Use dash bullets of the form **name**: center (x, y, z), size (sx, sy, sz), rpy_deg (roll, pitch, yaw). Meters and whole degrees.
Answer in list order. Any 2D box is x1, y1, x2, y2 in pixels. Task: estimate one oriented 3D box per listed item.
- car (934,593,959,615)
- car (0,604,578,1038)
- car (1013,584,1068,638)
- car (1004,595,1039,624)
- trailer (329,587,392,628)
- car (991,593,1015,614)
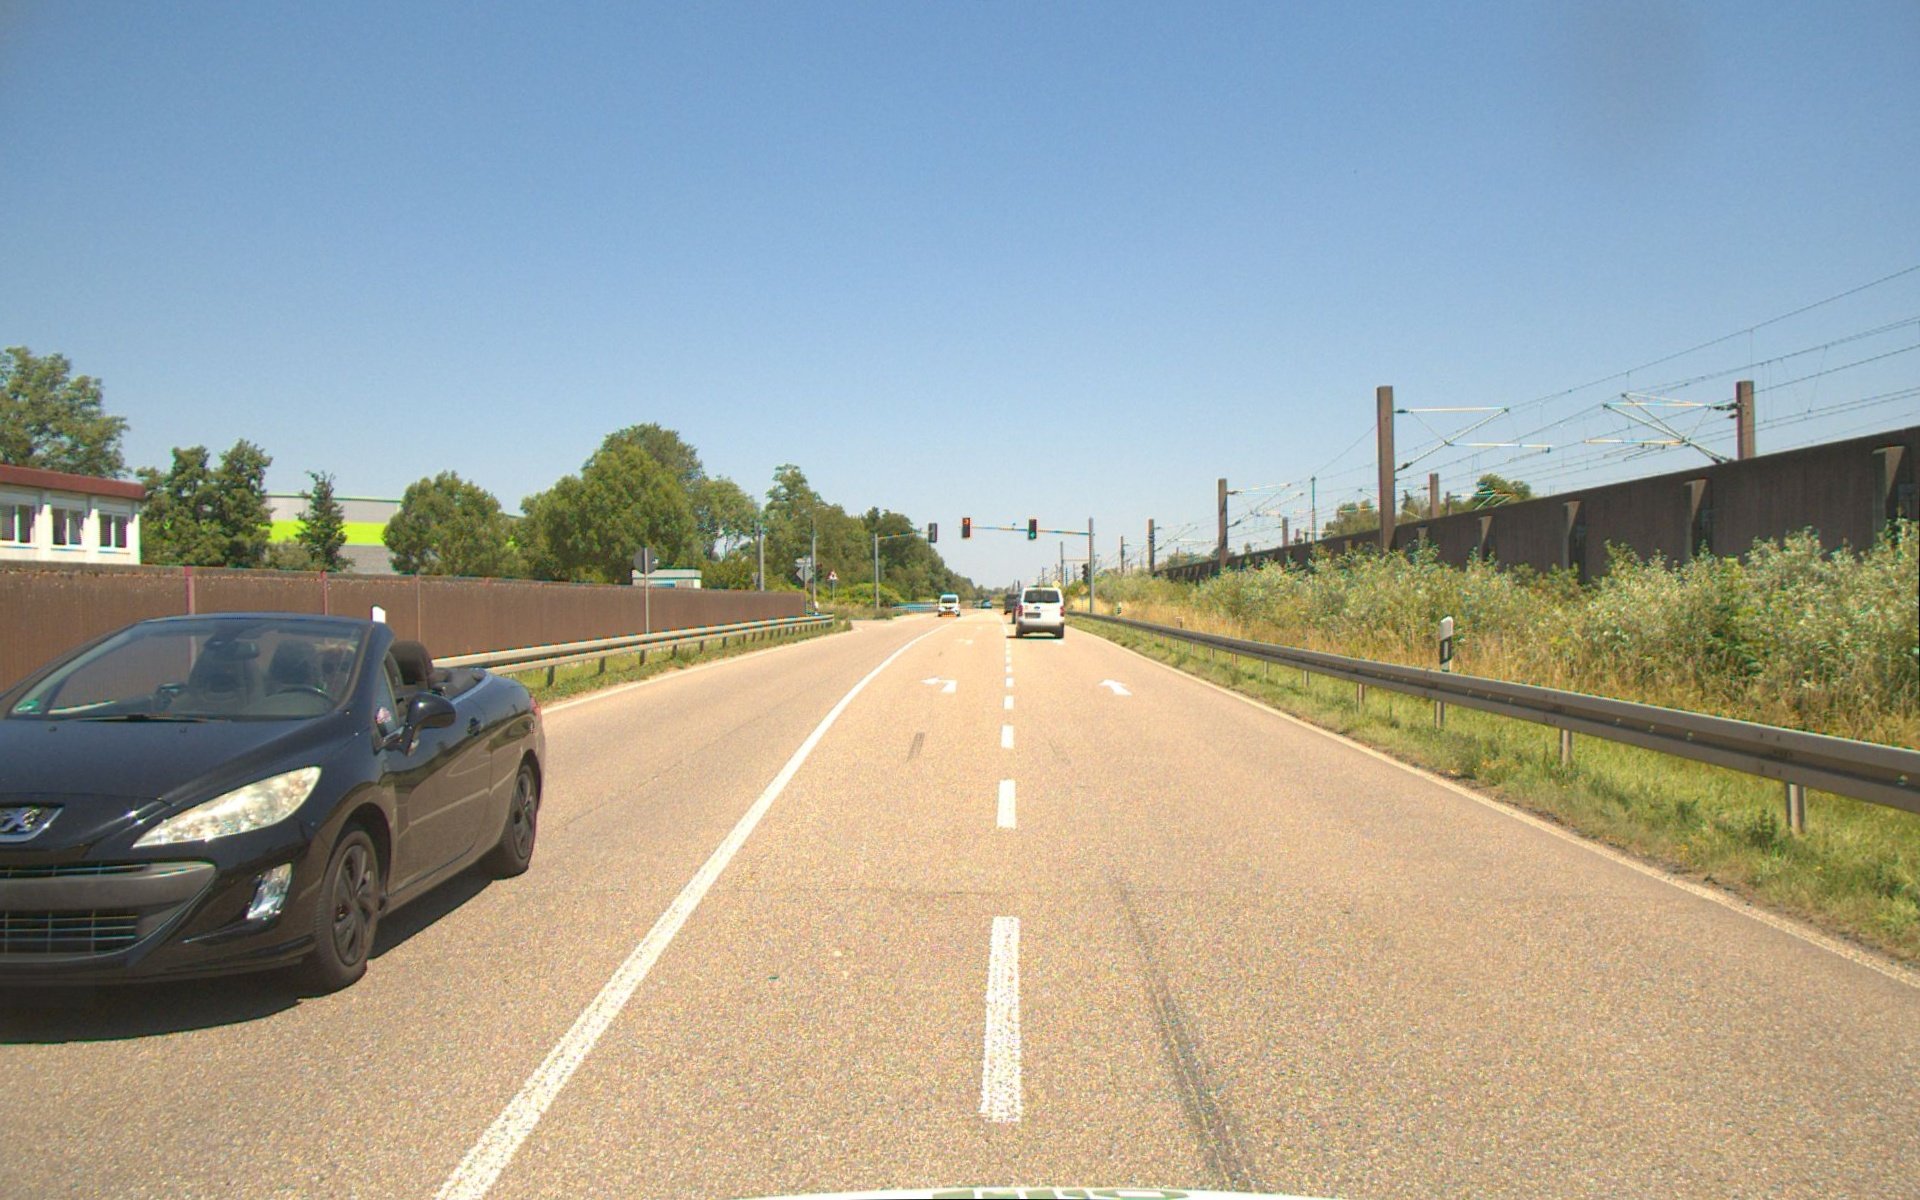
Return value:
- **car**: center (-1.190, 0.337, 141.097), size (1.850, 1.770, 4.772), rpy_deg (0, 0, -4)
- **car**: center (-3.105, 0.750, 7.637), size (1.808, 1.414, 4.189), rpy_deg (1, 0, -2)
- **car**: center (3.114, 0.413, 64.923), size (1.953, 2.018, 4.060), rpy_deg (1, 0, 0)
- **car**: center (3.790, 0.561, 102.947), size (1.978, 1.756, 4.542), rpy_deg (0, 0, 0)
- **trailer**: center (-41.248, 0.514, 113.880), size (1.796, 2.813, 3.731), rpy_deg (-1, 0, 45)
- **car**: center (4.049, 0.320, 155.800), size (2.111, 2.002, 4.542), rpy_deg (0, 0, 0)
